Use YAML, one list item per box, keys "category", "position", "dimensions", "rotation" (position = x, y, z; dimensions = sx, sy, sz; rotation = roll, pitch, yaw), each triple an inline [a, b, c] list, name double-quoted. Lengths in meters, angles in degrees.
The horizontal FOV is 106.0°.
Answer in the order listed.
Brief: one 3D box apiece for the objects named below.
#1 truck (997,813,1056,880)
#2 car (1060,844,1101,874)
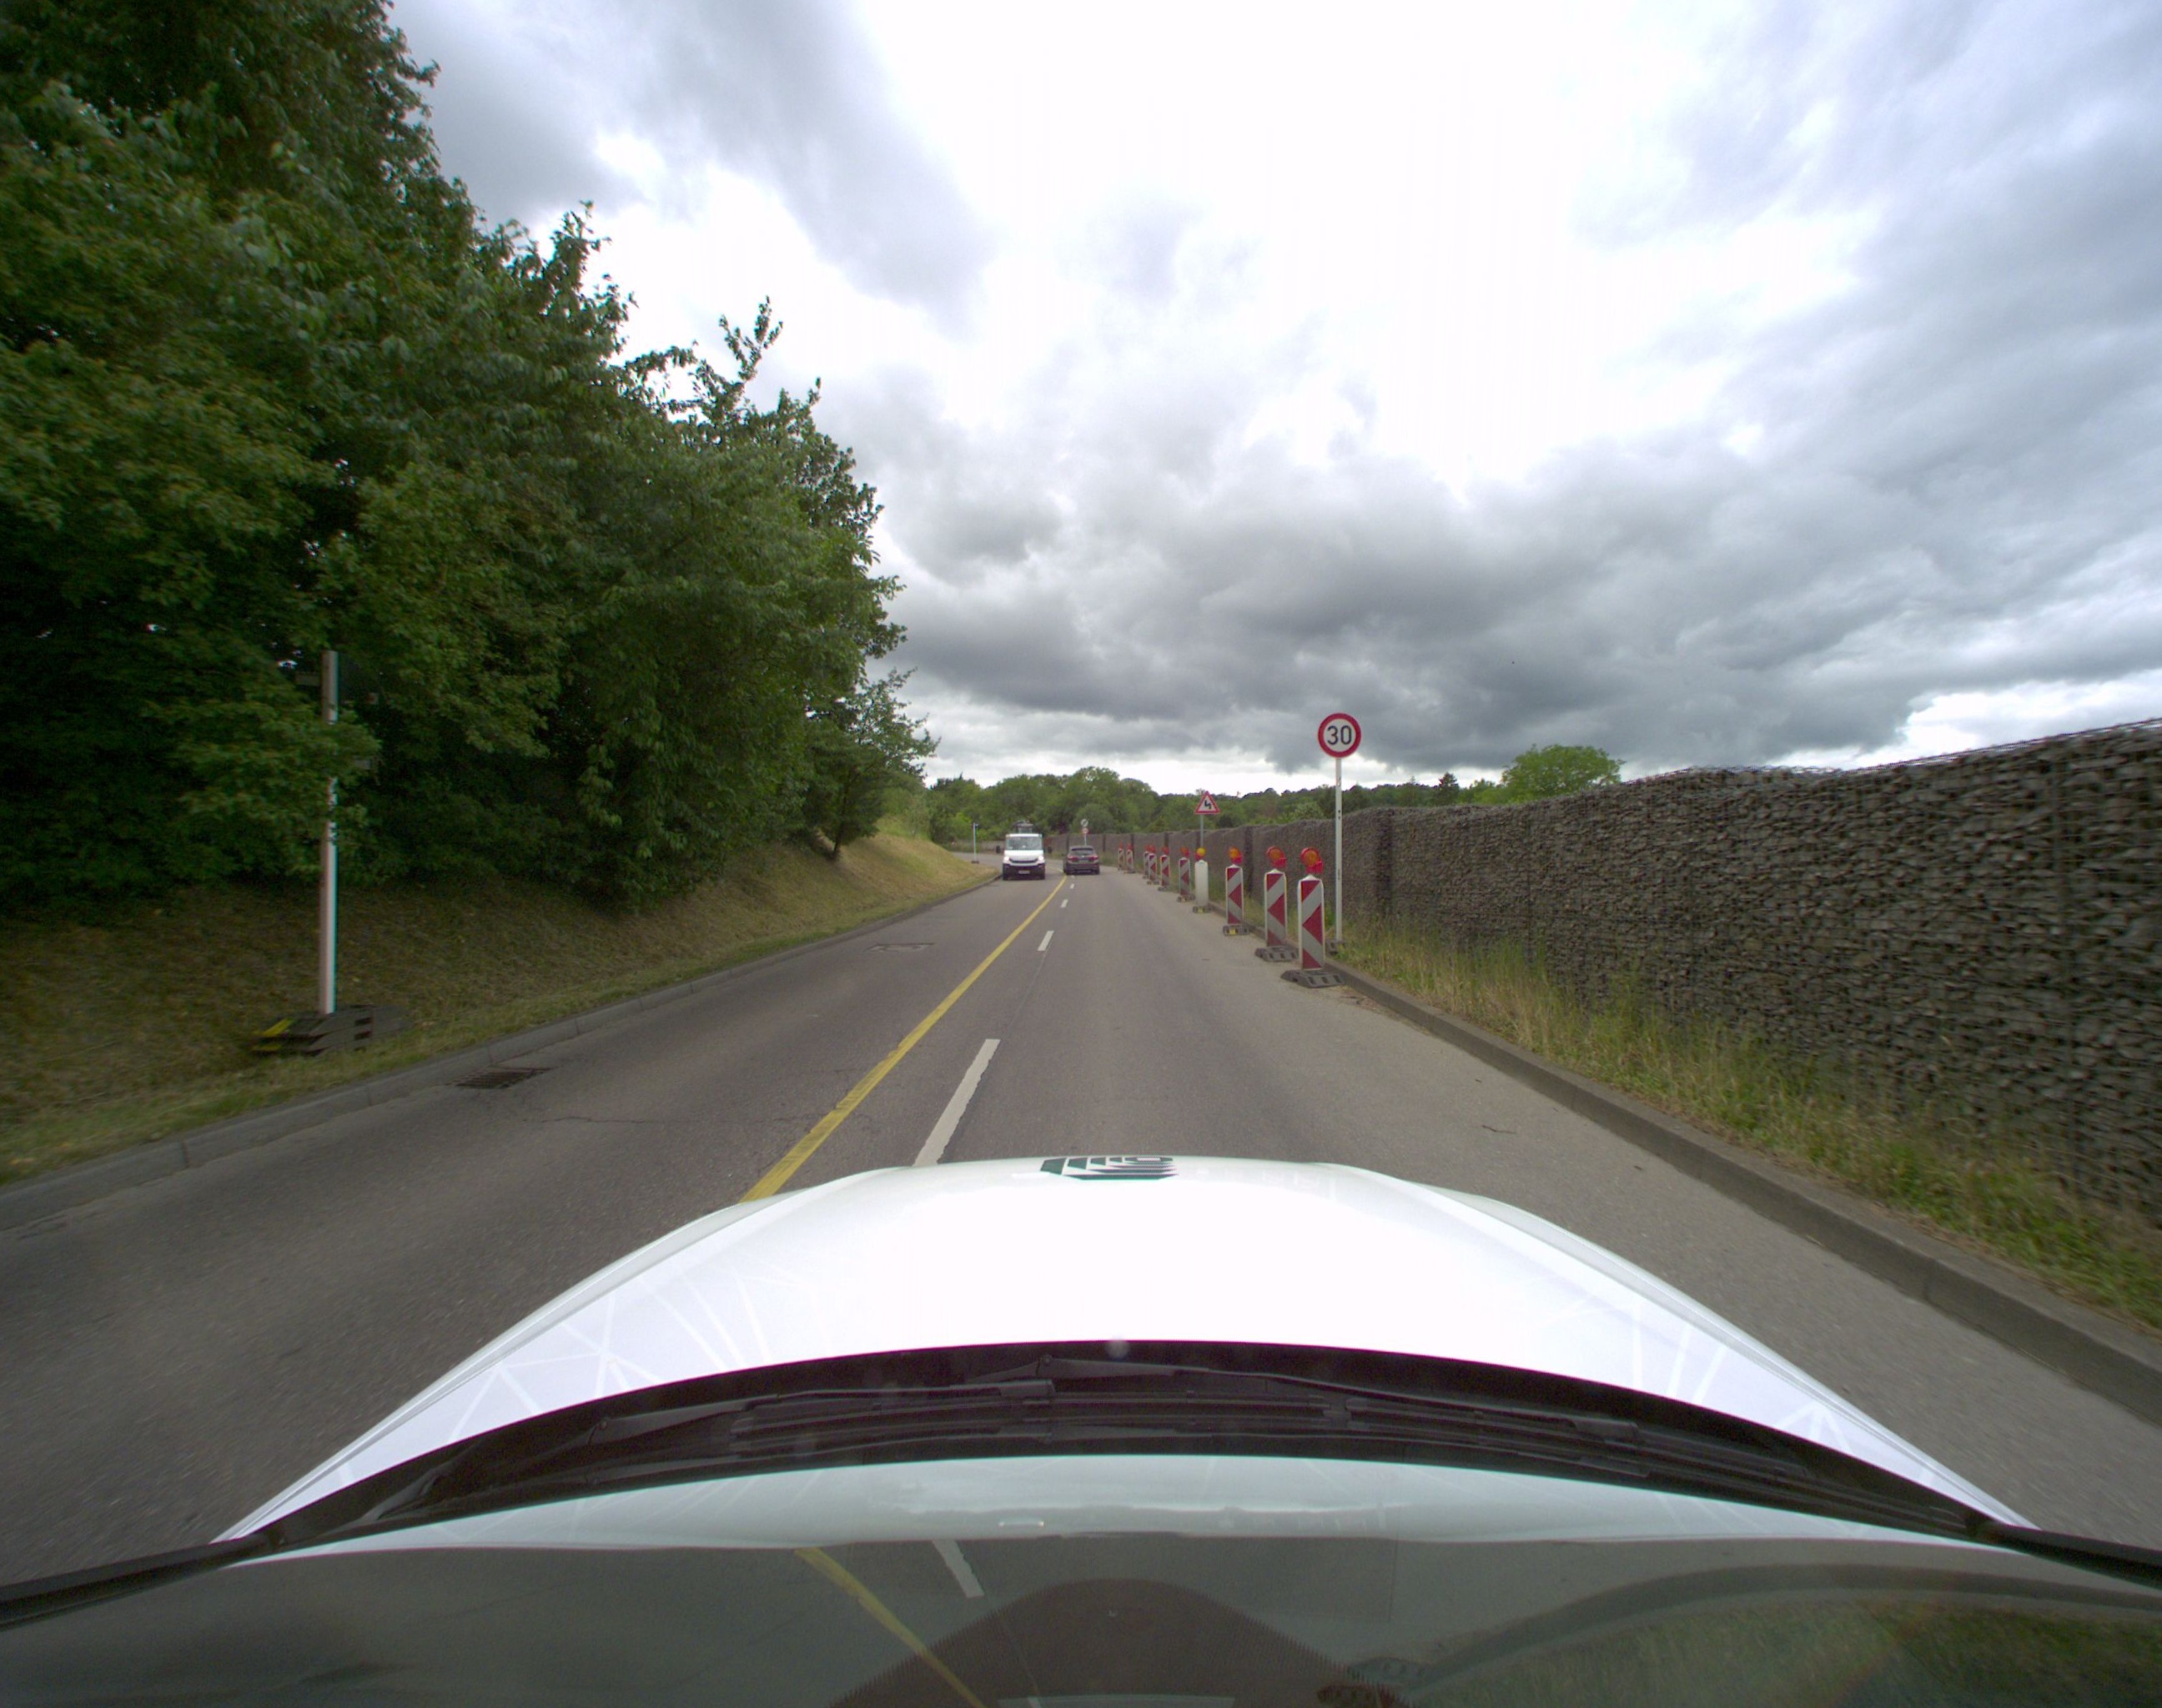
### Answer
- category: "truck"
  position: [-2.631, -0.408, 41.070]
  dimensions: [2.207, 3.014, 7.742]
  rotation: [-1, 1, 1]
- category: "car"
  position: [-0.071, 0.231, 43.618]
  dimensions: [1.837, 1.483, 3.993]
  rotation: [-2, 1, -5]
